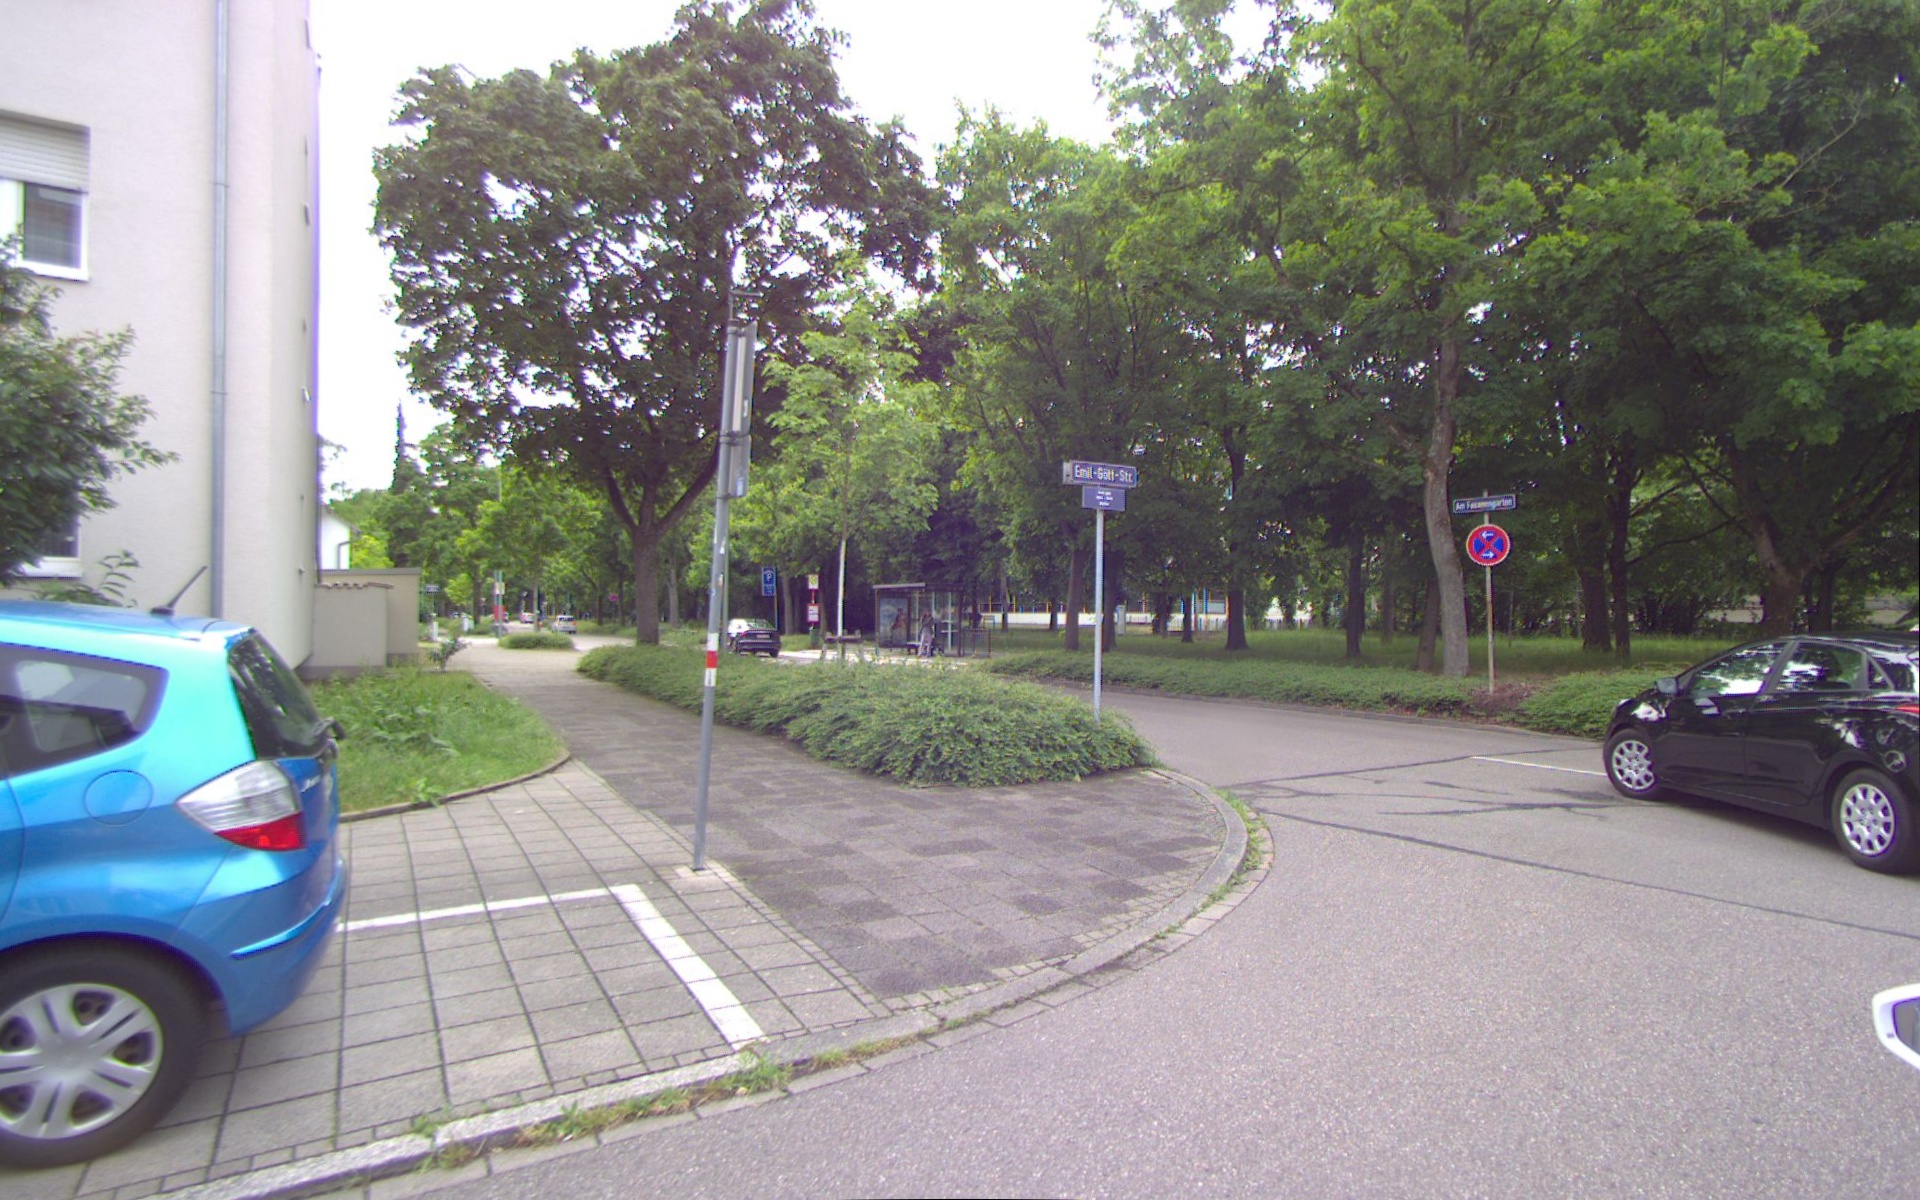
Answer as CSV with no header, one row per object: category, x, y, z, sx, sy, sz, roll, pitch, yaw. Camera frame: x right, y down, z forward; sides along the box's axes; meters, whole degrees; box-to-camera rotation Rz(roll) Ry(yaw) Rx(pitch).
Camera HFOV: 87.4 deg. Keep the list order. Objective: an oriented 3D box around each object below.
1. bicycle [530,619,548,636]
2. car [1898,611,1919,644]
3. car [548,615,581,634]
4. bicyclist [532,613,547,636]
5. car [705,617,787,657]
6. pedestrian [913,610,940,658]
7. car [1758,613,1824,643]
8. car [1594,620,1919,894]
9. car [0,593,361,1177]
bicycle,-27.134,1.737,64.742,0.787,1.039,2.545,0,0,-29
car,49.877,1.422,51.392,3.960,1.639,1.981,1,-1,-35
car,-32.912,2.037,83.585,1.884,1.506,3.966,0,-1,-31
bicyclist,-27.082,1.554,64.670,0.777,1.489,0.930,0,0,-29
car,-8.355,1.408,38.974,1.850,1.482,4.081,1,-2,-32
pedestrian,-1.134,1.148,34.018,0.648,1.604,0.693,0,0,-29
car,47.114,1.551,56.926,3.960,1.639,1.905,1,-1,-35
car,6.415,0.909,7.145,1.814,1.482,3.830,1,-1,8
car,-3.918,0.732,2.740,3.912,1.482,1.721,1,1,-32
